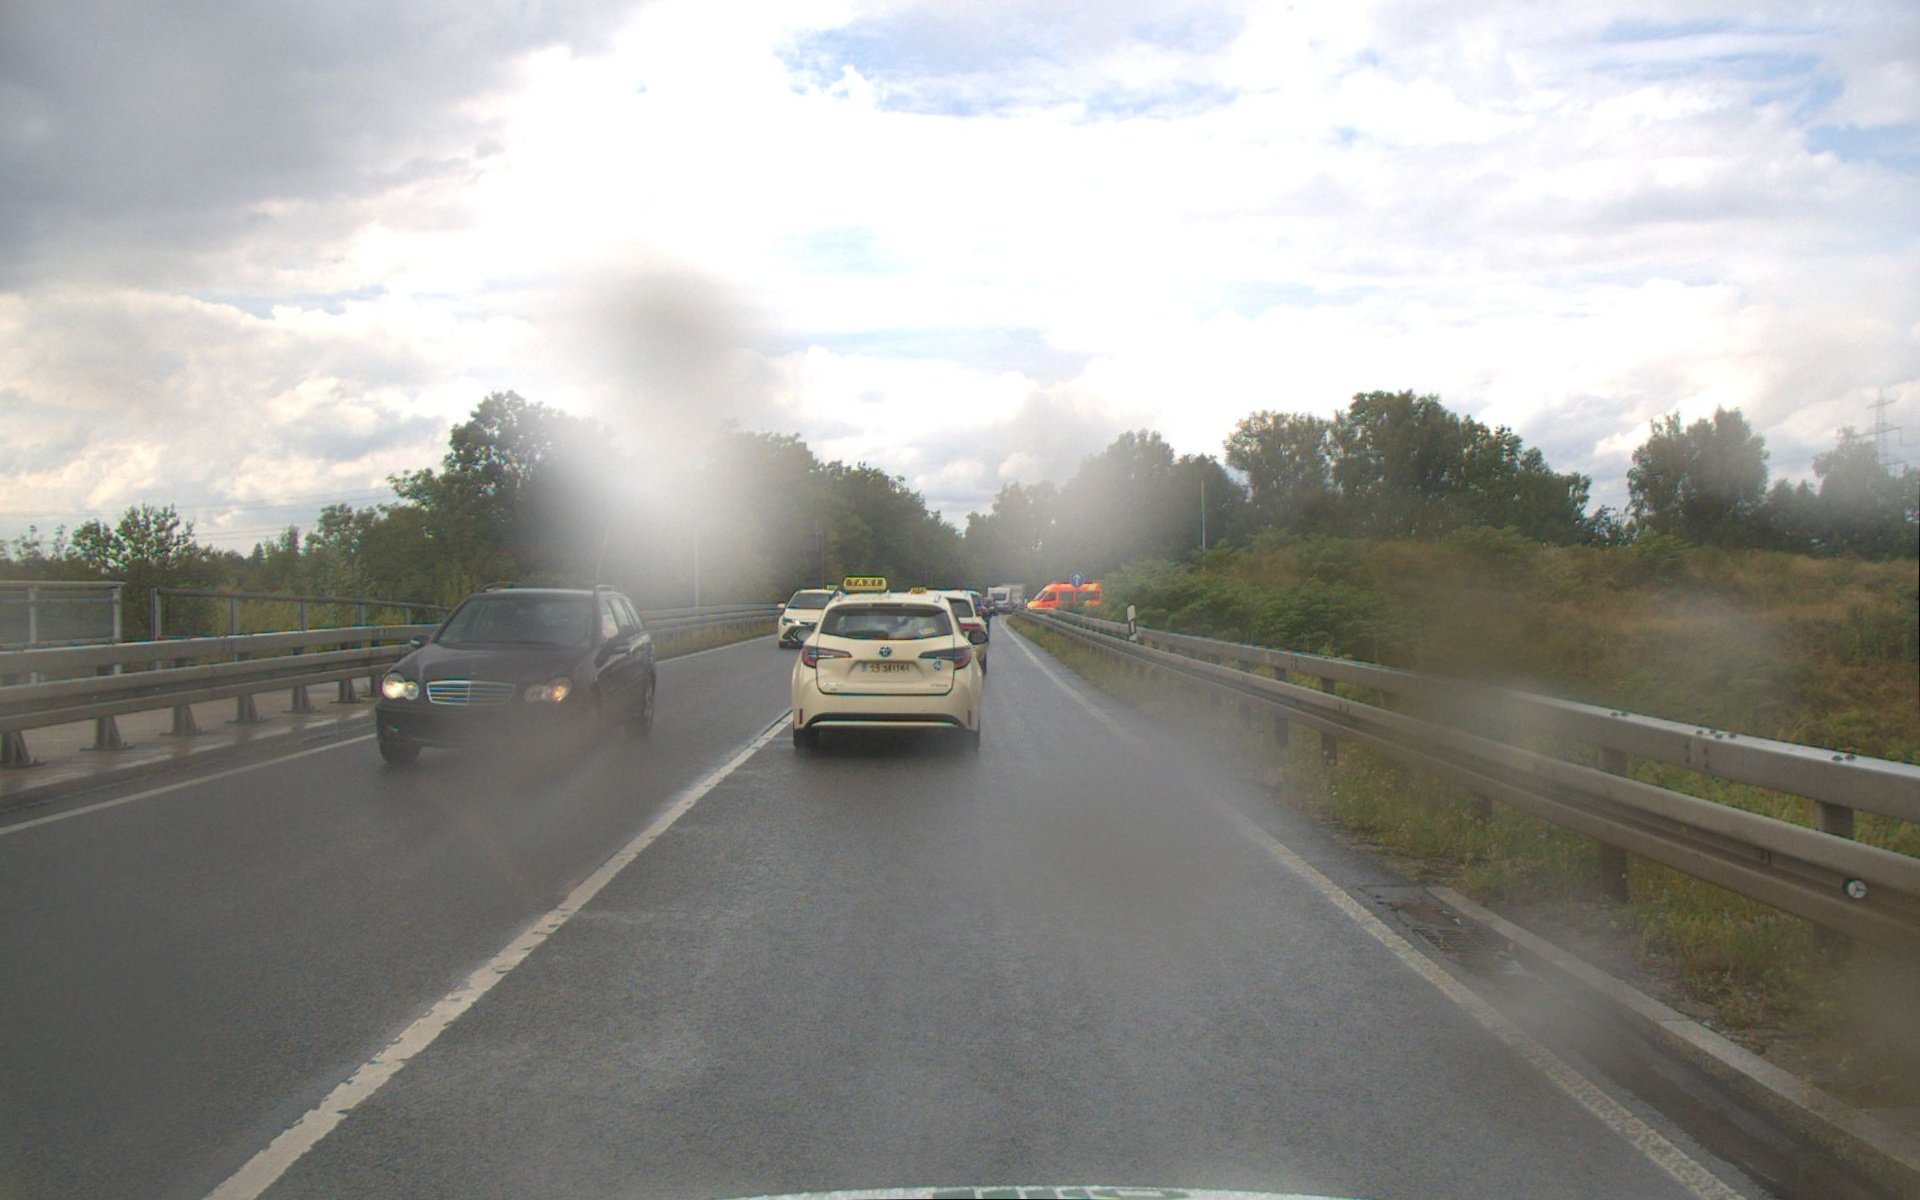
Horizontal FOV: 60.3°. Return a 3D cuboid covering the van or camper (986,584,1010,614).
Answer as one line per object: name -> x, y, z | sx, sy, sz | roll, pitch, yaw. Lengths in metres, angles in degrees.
van or camper -> 3.811, -0.144, 166.495 | 2.284, 2.914, 6.307 | 1, 1, 1

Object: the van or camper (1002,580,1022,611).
van or camper -> 6.170, -0.601, 196.631 | 2.284, 3.624, 6.307 | 1, 1, 1

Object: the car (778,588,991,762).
car -> -0.681, 0.637, 16.396 | 1.817, 1.418, 4.171 | 1, 1, -1

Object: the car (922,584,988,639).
car -> -0.158, 0.304, 48.460 | 1.817, 1.468, 4.171 | 1, 1, -1

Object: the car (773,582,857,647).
car -> -3.670, 0.336, 42.607 | 1.773, 1.536, 4.611 | 1, 1, 0

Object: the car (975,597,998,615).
car -> 2.349, 0.541, 143.620 | 1.815, 1.468, 4.173 | 1, 1, 3

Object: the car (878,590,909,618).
car -> -3.924, 0.224, 98.511 | 1.743, 1.588, 4.301 | 1, 1, -1

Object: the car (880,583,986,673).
car -> -0.492, 0.467, 30.783 | 1.817, 1.468, 4.171 | 1, 1, -1

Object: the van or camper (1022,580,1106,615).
van or camper -> 7.297, -0.179, 116.318 | 5.584, 2.280, 2.012 | 1, 1, -15

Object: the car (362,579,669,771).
car -> -3.823, 0.555, 14.972 | 1.662, 1.457, 4.322 | 1, 1, -1

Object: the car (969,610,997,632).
car -> 1.668, 1.486, 117.986 | 1.815, 1.468, 4.173 | 1, 1, 3
